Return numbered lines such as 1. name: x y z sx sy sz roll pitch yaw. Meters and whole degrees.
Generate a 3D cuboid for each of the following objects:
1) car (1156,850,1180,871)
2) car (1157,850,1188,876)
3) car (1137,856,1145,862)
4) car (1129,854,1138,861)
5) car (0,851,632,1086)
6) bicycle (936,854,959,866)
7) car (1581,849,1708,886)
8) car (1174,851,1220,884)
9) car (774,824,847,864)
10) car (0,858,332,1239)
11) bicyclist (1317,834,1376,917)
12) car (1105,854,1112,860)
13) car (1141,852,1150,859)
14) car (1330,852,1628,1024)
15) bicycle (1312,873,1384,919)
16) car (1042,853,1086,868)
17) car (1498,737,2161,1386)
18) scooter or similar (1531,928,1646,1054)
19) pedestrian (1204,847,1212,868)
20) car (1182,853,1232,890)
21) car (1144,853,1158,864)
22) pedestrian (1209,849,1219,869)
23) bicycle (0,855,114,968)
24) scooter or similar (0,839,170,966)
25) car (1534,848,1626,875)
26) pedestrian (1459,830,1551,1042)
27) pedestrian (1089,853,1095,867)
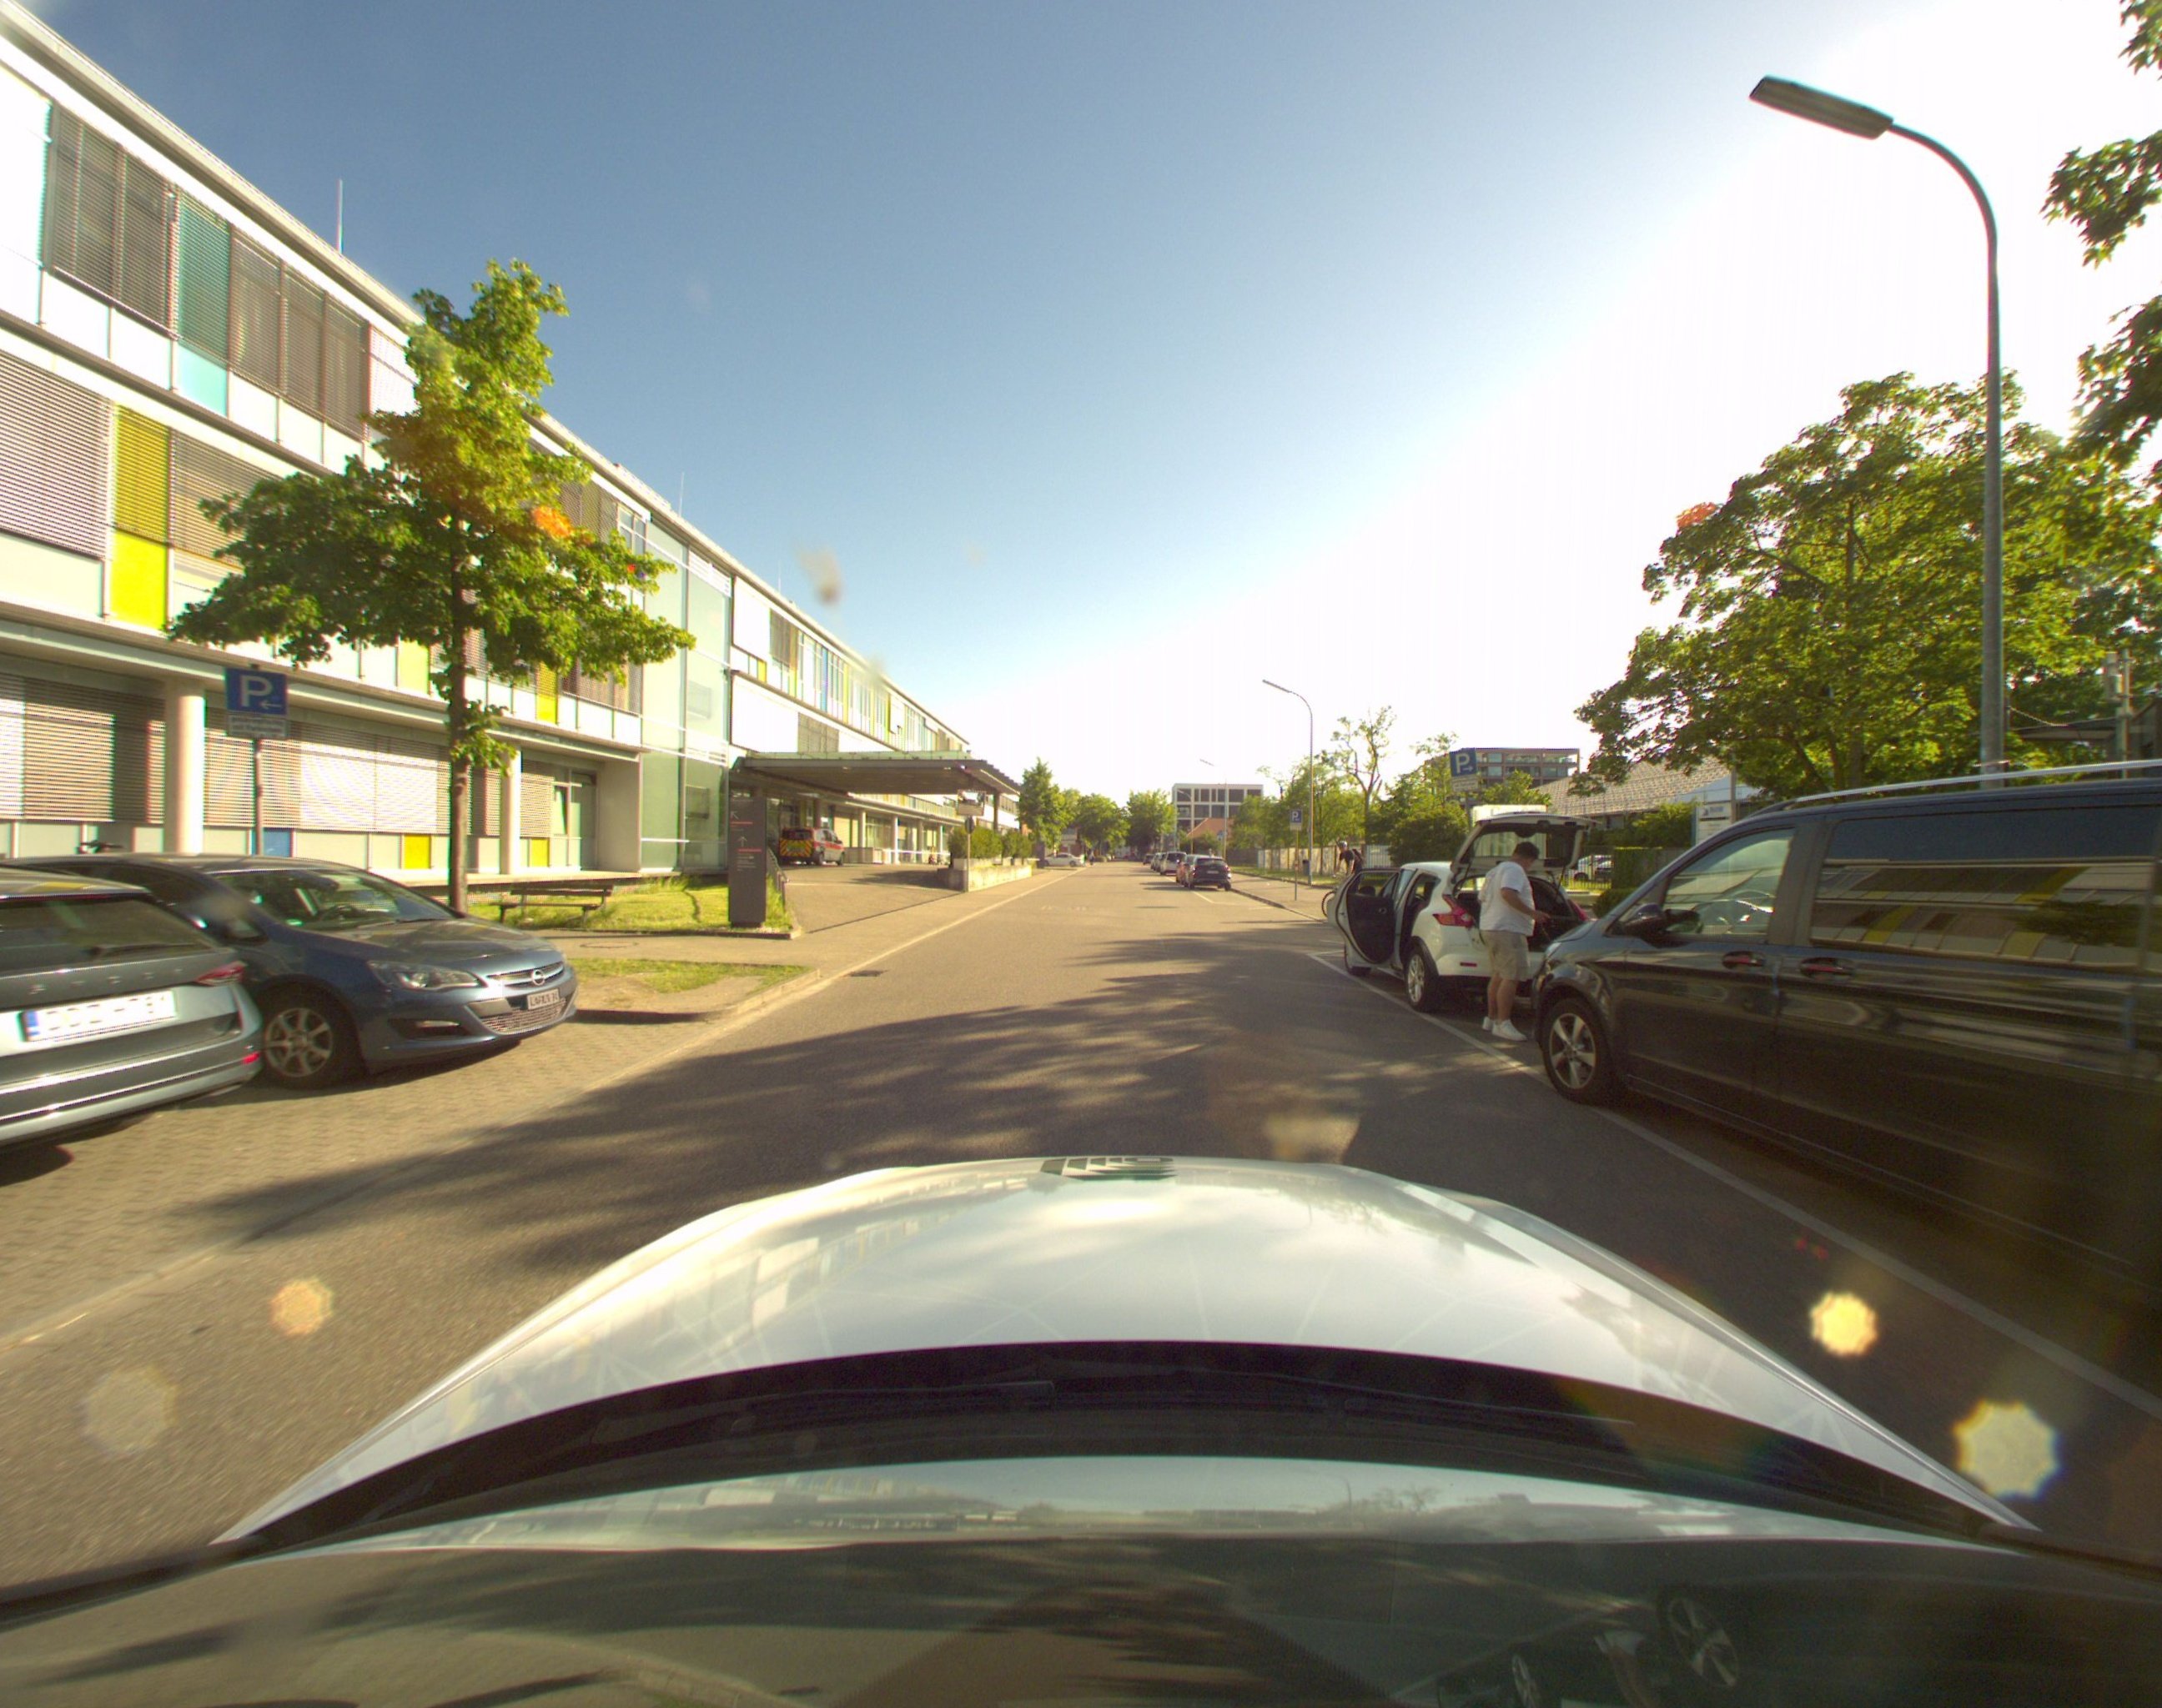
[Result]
1. car: 7.229 0.526 68.137 1.693 1.606 4.356 2 0 3
2. car: 6.566 0.619 58.937 1.802 1.722 4.706 2 0 2
3. car: 14.626 1.232 199.688 1.942 1.578 3.840 1 0 4
4. car: 10.871 0.755 169.233 1.760 1.548 4.067 0 0 2
5. car: -5.927 0.738 6.101 4.116 1.466 1.754 -1 0 1
6. bicycle: -10.824 0.497 66.102 1.709 0.994 0.536 0 0 1
7. car: 26.259 0.597 38.050 4.617 1.668 1.998 0 0 -3
8. car: 5.995 0.658 42.488 1.802 1.510 4.724 2 0 2
9. car: -13.351 -0.474 40.512 1.912 1.891 4.714 0 0 2
10. car: -6.172 0.739 3.642 3.974 1.437 1.731 1 0 0
11. bicyclist: 6.722 0.519 20.647 1.057 2.013 0.950 -2 1 -32
12. car: 7.109 0.860 210.825 1.760 1.487 4.001 0 0 2
13. car: 13.531 0.345 170.377 1.760 1.440 4.001 0 0 2
14. car: 4.301 0.770 9.579 1.657 1.513 4.118 2 0 3
15. bicycle: 6.802 1.050 20.694 1.892 1.008 0.694 -2 1 -33
16. car: -1.768 0.663 84.444 4.500 1.367 1.698 3 0 -3
17. car: 4.059 0.618 3.546 1.858 1.869 5.021 2 0 0
18. scooter or similar: 4.320 1.138 6.982 0.686 0.906 0.708 2 0 21
19. pedestrian: 10.599 0.279 67.827 0.519 1.708 0.522 2 -1 0
20. car: 5.601 0.755 36.711 1.694 1.487 4.217 2 0 2
21. car: 9.413 0.600 109.350 1.810 1.453 4.218 0 0 4
22. pedestrian: 10.957 0.378 67.237 0.679 1.611 0.541 2 -1 0
23. bicycle: -11.727 0.660 8.861 0.351 1.047 1.651 0 8 -2
24. scooter or similar: -10.784 0.485 8.804 0.468 1.273 1.207 0 0 4
25. car: 26.306 0.375 42.982 3.876 1.379 1.675 0 0 -1
26. pedestrian: 3.729 0.685 7.205 0.583 1.745 0.708 2 0 21
27. pedestrian: 1.179 0.601 88.170 0.536 1.524 0.608 0 0 4
